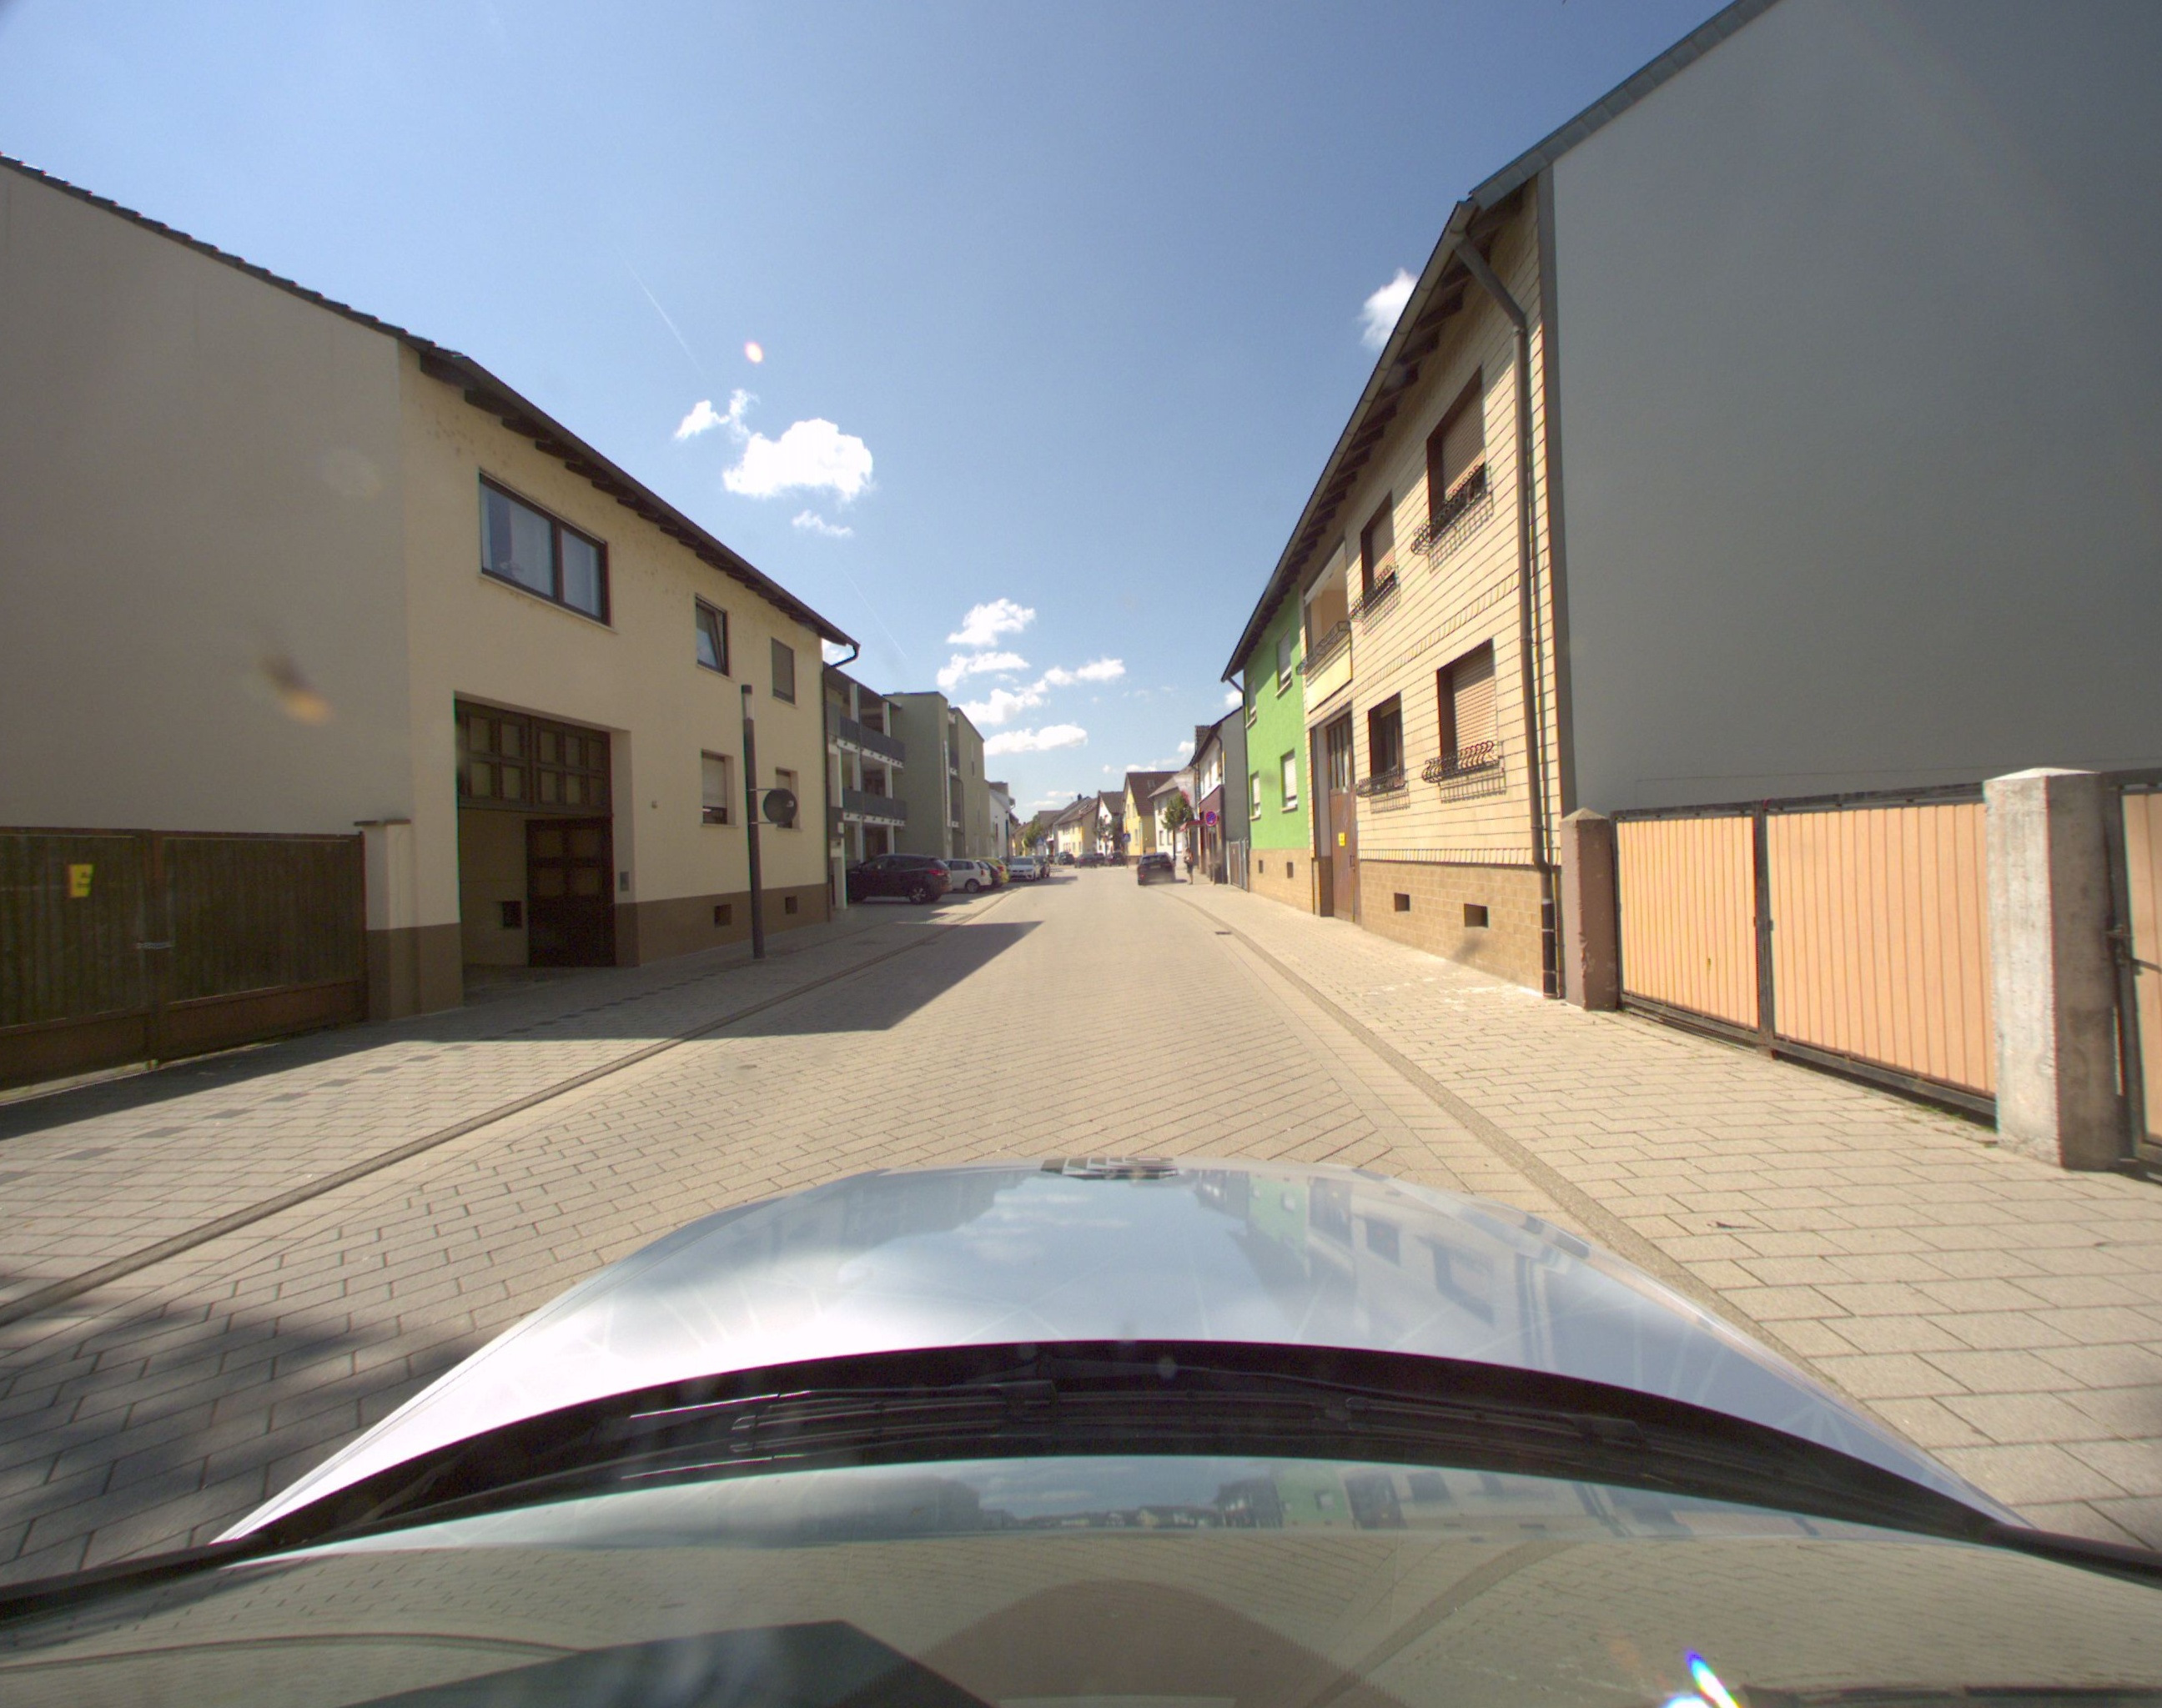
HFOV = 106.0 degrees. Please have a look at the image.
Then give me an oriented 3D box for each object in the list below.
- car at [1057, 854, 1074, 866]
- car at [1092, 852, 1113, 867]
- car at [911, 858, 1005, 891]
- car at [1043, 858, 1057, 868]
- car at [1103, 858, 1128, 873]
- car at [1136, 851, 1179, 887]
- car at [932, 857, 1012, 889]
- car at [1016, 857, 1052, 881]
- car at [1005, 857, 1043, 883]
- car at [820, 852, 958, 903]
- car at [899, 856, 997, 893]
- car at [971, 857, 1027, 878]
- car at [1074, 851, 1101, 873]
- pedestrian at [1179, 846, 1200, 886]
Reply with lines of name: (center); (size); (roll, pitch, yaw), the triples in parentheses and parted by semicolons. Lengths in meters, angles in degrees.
car: (-2.188, 0.898, 117.026); (1.876, 1.591, 3.988); (-3, 0, -8)
car: (2.545, 0.641, 96.066); (1.846, 1.562, 3.683); (-3, 0, -8)
car: (-5.625, 0.924, 37.581); (3.970, 1.441, 1.693); (0, 0, 3)
car: (-4.984, 1.380, 131.249); (1.753, 1.493, 3.988); (-3, 0, -8)
car: (3.622, 1.220, 86.355); (1.828, 1.471, 4.264); (-5, 0, -8)
car: (3.734, 0.683, 39.284); (1.848, 1.459, 4.594); (-4, 0, 6)
car: (-5.377, 0.920, 40.442); (3.675, 1.525, 1.674); (0, 0, 4)
car: (-3.086, 0.974, 54.236); (1.805, 1.490, 4.282); (-1, 0, 4)
car: (-3.381, 0.924, 48.719); (1.750, 1.411, 3.882); (-1, 0, 4)
car: (-6.430, 0.780, 27.561); (4.202, 1.658, 1.786); (0, 0, 2)
car: (-5.745, 0.869, 35.404); (3.882, 1.502, 1.753); (0, 0, 5)
car: (-6.575, 1.074, 65.475); (4.088, 1.438, 1.767); (-4, 0, 3)
car: (0.585, 0.794, 82.426); (1.993, 2.057, 4.361); (-3, 0, -8)
pedestrian: (4.657, 0.523, 35.017); (0.726, 1.640, 0.750); (-5, -1, 6)
